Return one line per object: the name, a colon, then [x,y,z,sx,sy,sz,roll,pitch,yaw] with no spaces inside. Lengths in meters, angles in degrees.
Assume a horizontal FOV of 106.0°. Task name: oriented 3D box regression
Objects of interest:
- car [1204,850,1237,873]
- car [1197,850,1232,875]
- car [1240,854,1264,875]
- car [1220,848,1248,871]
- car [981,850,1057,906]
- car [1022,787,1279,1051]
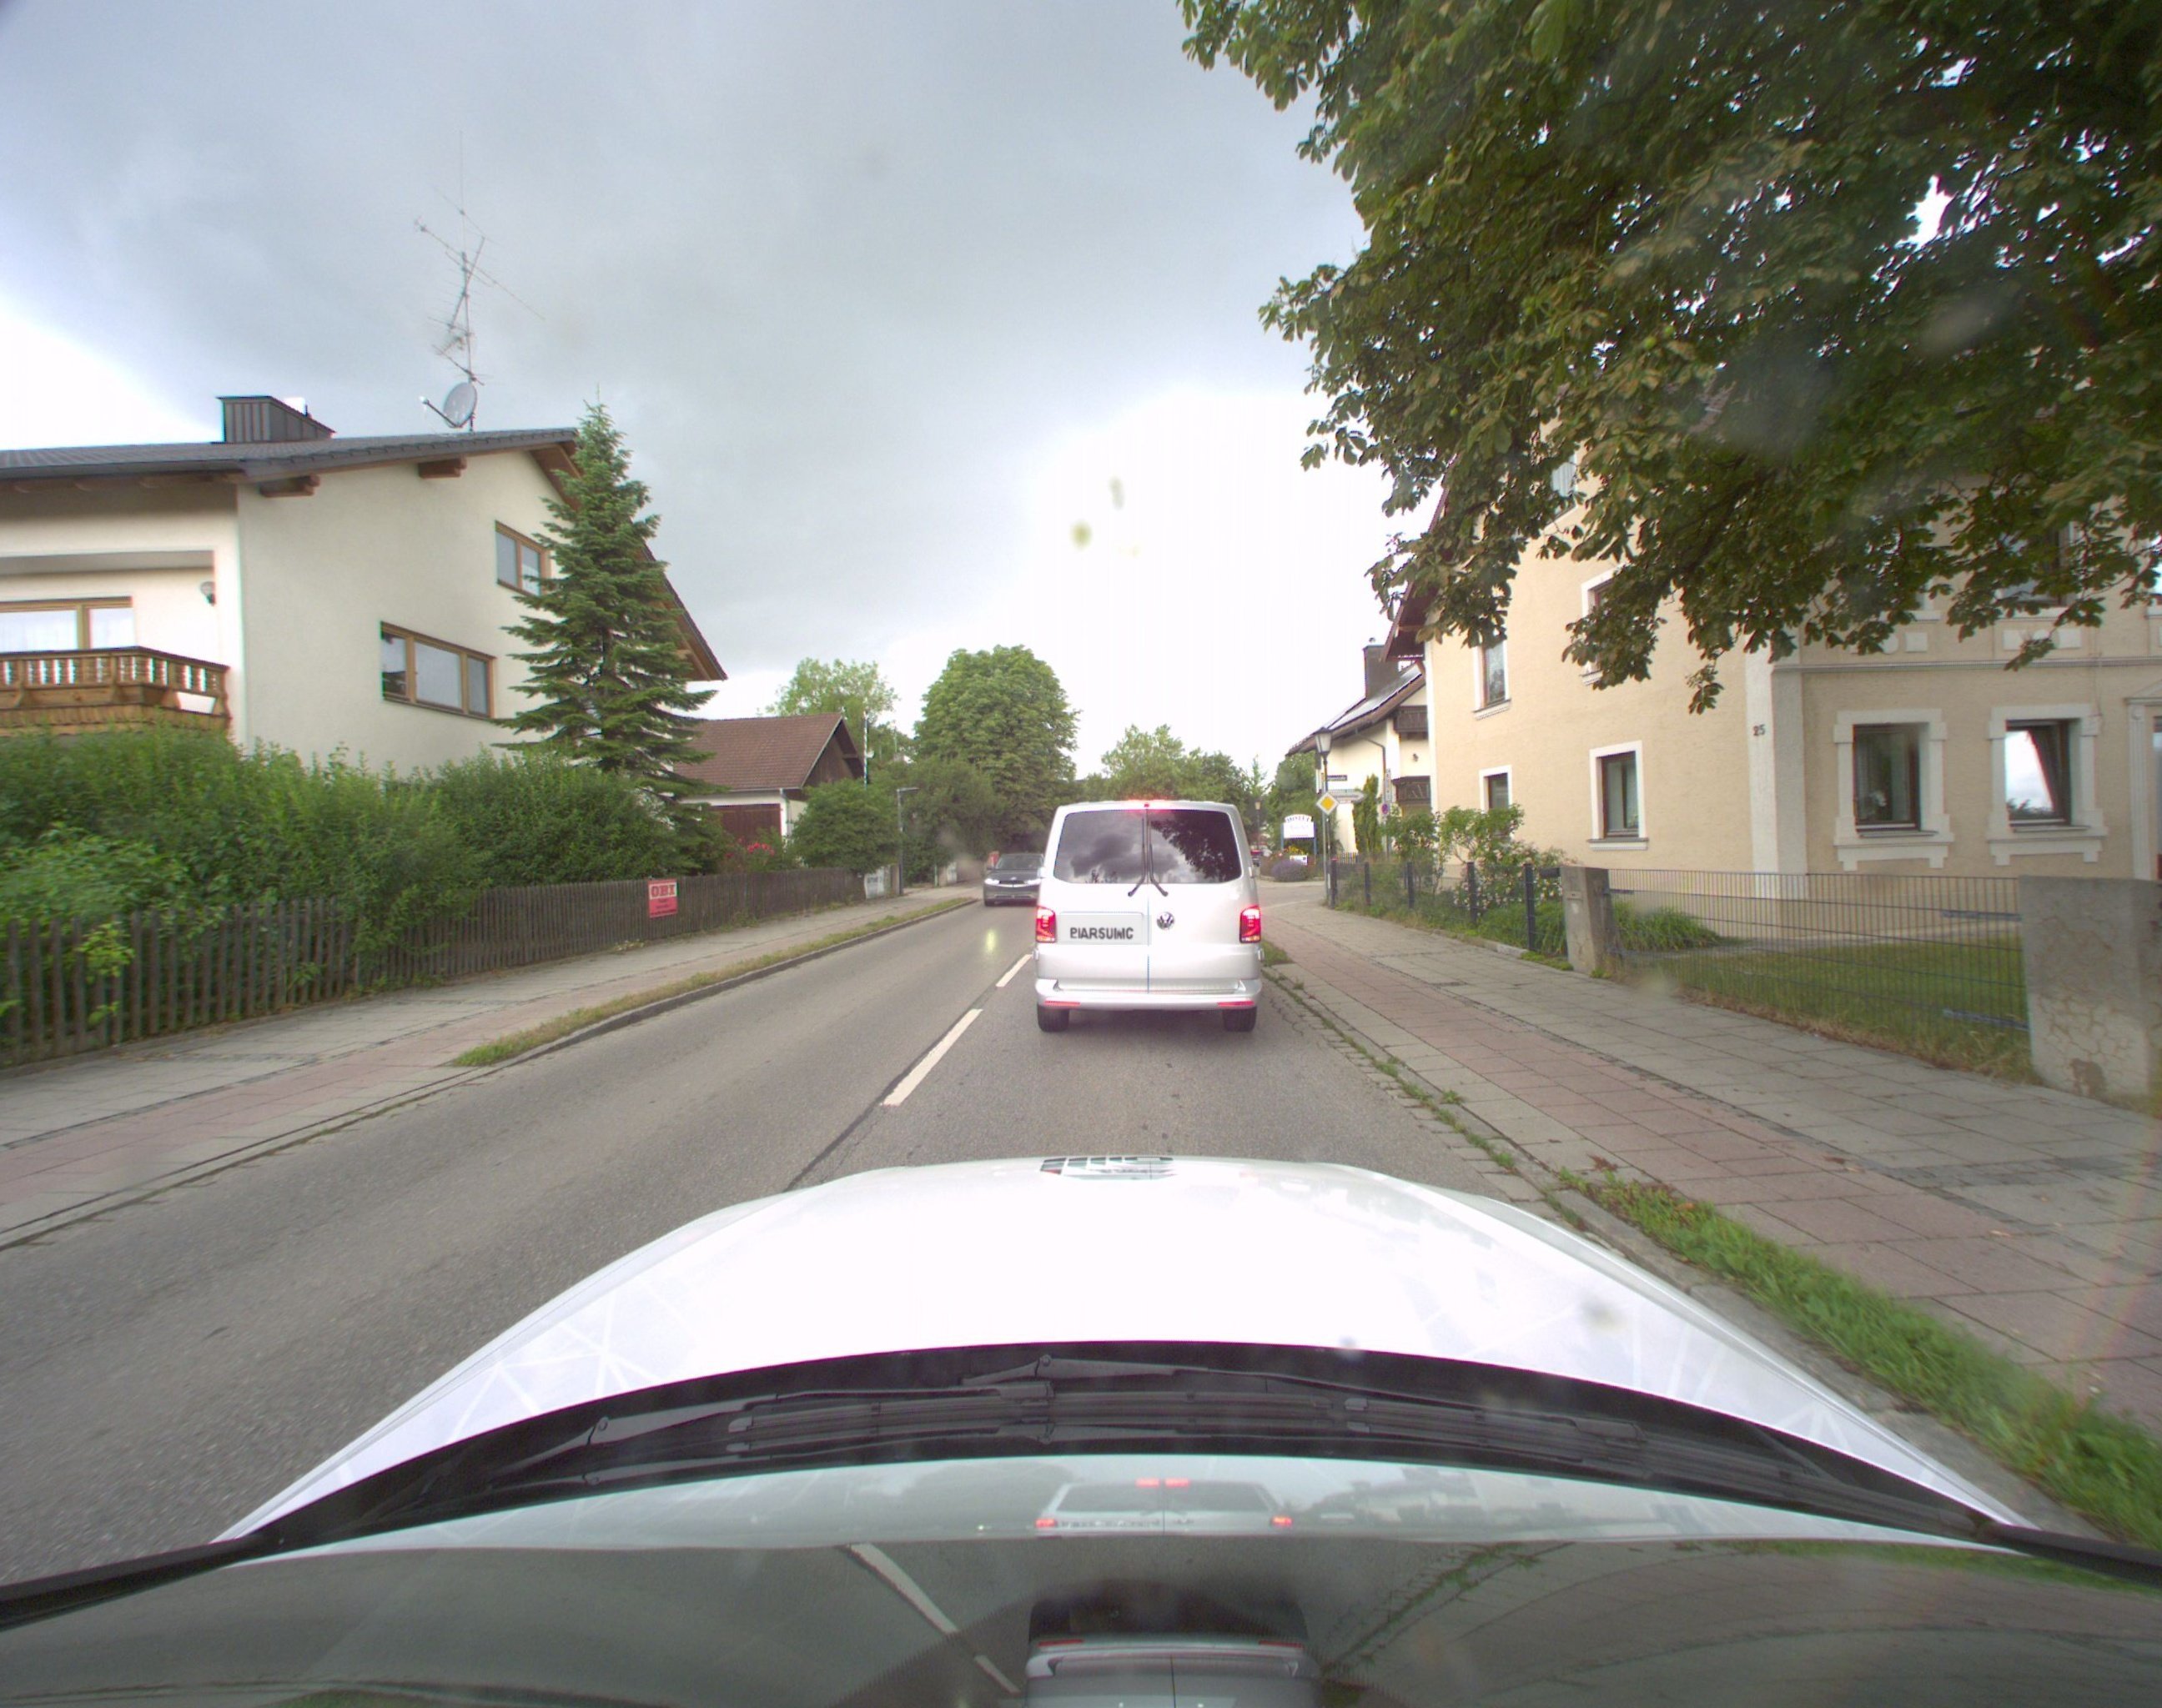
car: [10.195,0.521,59.293,1.867,1.535,3.937,-2,0,16]
car: [8.816,0.528,53.473,1.868,1.535,3.936,-2,0,14]
car: [15.689,0.932,74.703,1.867,1.825,3.937,-2,0,16]
car: [12.497,0.423,66.272,1.867,1.748,4.097,-2,0,15]
car: [-1.835,0.688,25.427,1.923,1.575,4.313,0,0,1]
car: [0.622,0.490,8.070,1.873,1.940,3.924,-2,0,3]
